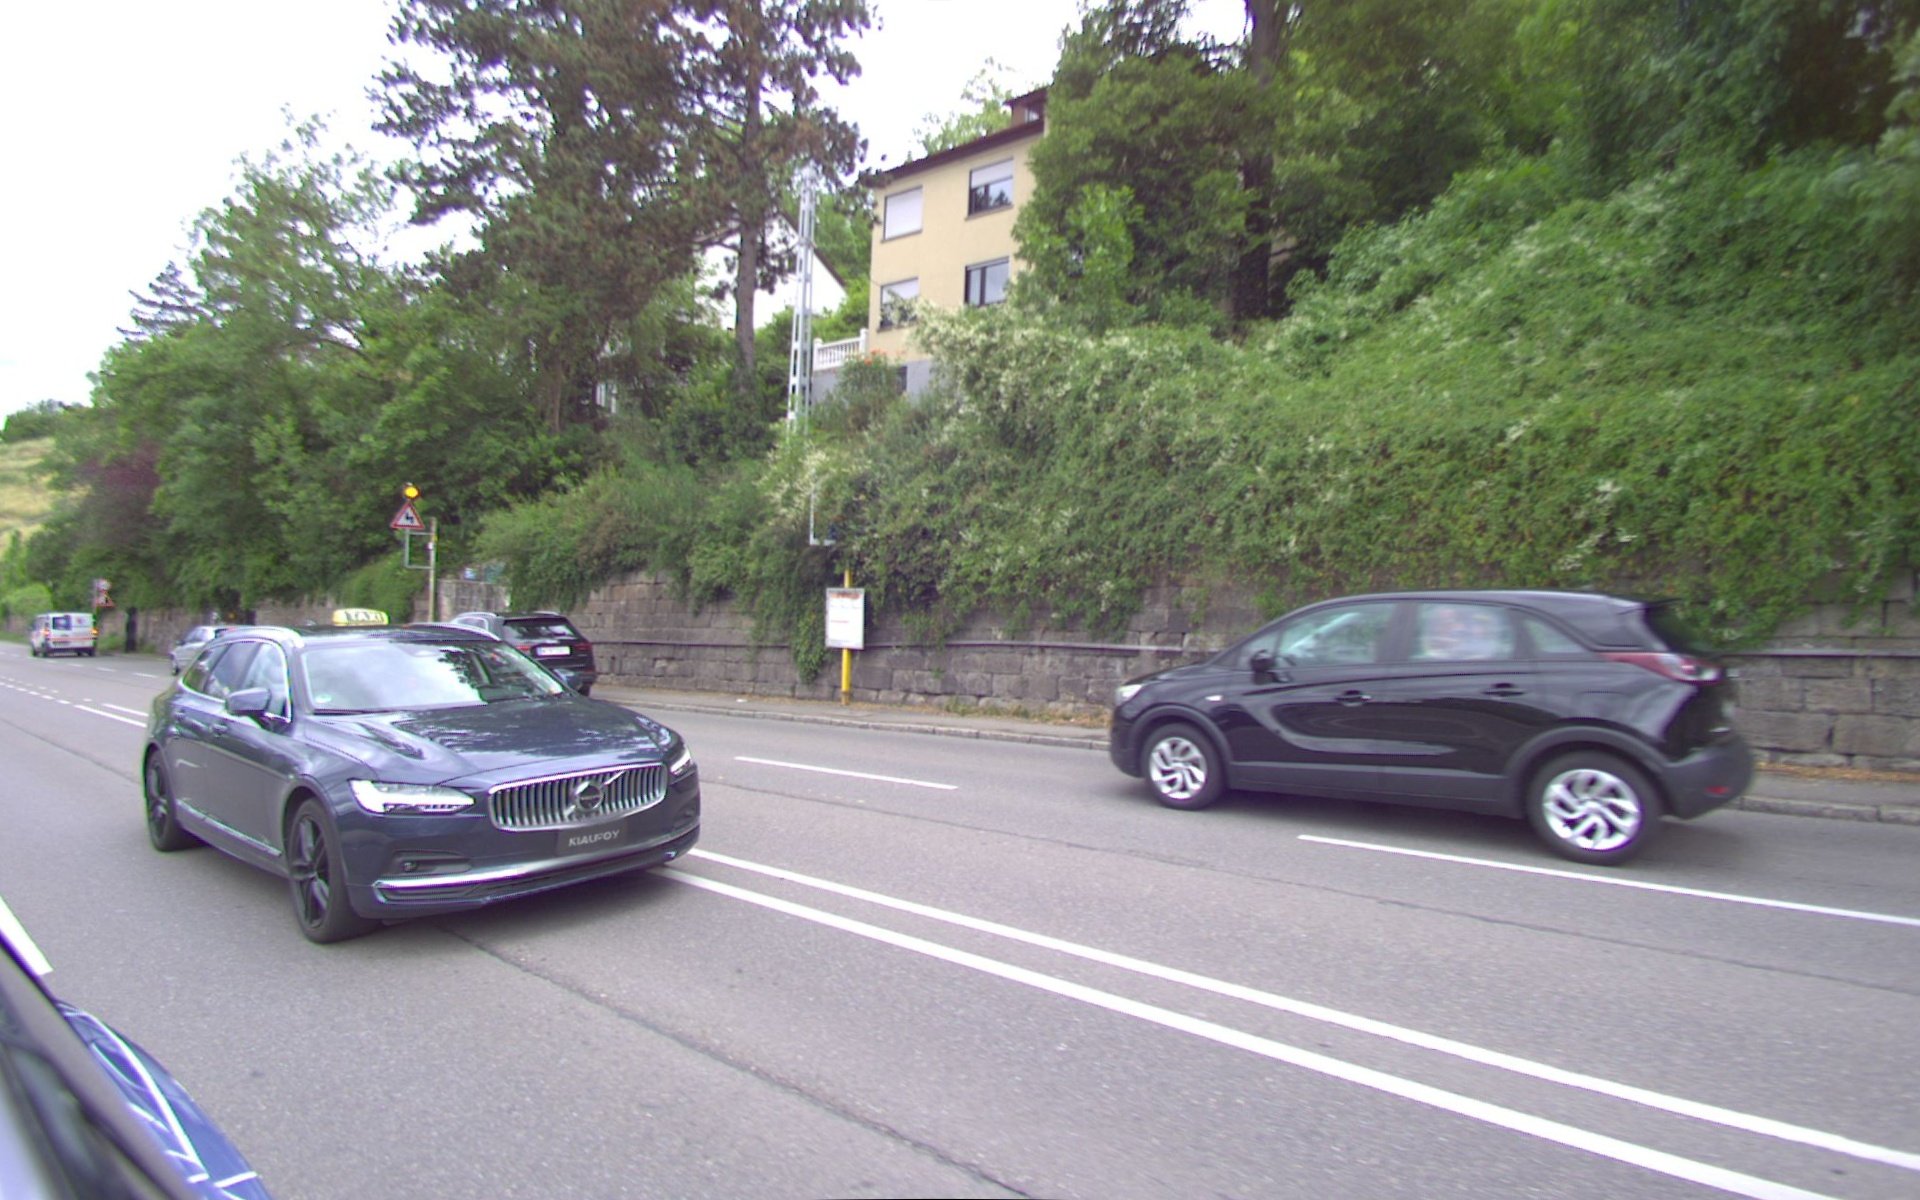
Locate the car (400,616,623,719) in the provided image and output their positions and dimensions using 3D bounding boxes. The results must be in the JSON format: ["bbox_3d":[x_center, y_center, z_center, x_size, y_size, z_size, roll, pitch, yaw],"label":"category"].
[{"bbox_3d":[-7.791,1.065,17.417,4.247,1.560,1.921,-1,-2,41],"label":"car"}]

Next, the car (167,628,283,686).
[{"bbox_3d":[-20.614,1.570,28.339,4.230,1.453,1.659,-2,0,40],"label":"car"}]

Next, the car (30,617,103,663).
[{"bbox_3d":[-41.369,1.822,46.812,5.353,2.020,1.901,-2,-1,41],"label":"car"}]

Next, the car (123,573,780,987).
[{"bbox_3d":[-3.468,0.722,6.291,5.025,1.588,1.914,-1,0,42],"label":"car"}]

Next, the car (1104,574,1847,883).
[{"bbox_3d":[3.277,0.669,6.986,4.209,1.493,1.763,-2,0,41],"label":"car"}]
